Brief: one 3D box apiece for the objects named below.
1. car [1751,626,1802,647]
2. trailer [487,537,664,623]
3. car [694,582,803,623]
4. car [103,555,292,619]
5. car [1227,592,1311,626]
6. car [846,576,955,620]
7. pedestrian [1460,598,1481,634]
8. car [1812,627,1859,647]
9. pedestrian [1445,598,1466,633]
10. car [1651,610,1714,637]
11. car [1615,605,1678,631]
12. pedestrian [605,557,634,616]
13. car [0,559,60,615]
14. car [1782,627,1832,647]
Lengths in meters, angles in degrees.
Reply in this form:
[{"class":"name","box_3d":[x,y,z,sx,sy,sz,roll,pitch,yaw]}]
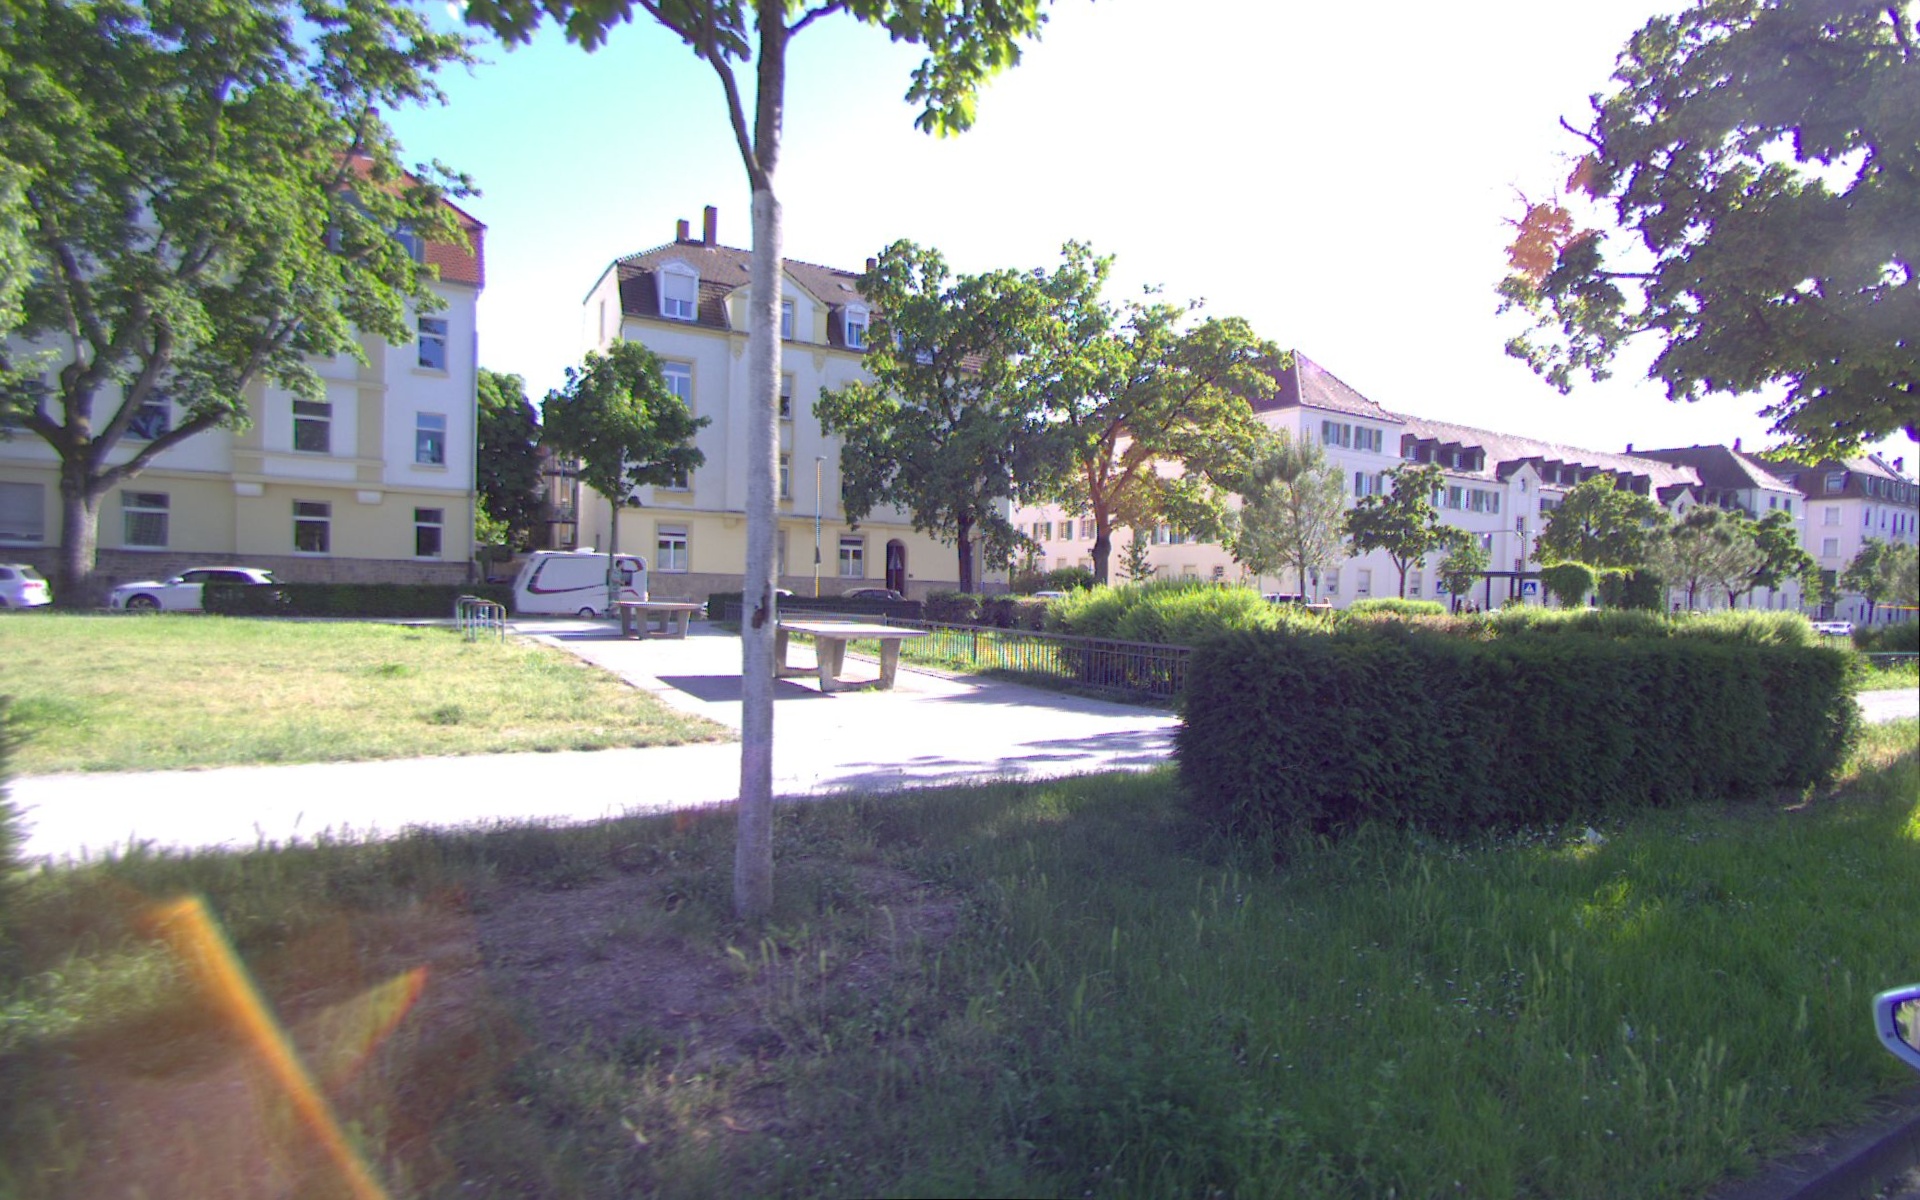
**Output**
[{"class":"car","box_3d":[63.154,2.815,77.692,3.953,1.530,1.786,2,1,-30]},{"class":"trailer","box_3d":[-14.153,-0.683,37.090,5.736,2.909,2.331,1,1,-31]},{"class":"car","box_3d":[-8.550,0.102,40.692,3.953,1.530,1.786,2,1,-30]},{"class":"car","box_3d":[-23.446,-0.392,31.125,4.436,1.801,1.785,1,1,-30]},{"class":"car","box_3d":[16.766,0.477,54.602,3.925,1.674,1.798,2,1,-6]},{"class":"car","box_3d":[-2.578,-0.092,43.858,4.445,1.755,1.785,2,1,-30]},{"class":"pedestrian","box_3d":[24.683,0.759,48.585,0.642,1.721,0.645,1,0,-30]},{"class":"car","box_3d":[72.572,3.104,83.254,3.953,1.530,1.786,2,1,-30]},{"class":"pedestrian","box_3d":[24.317,0.760,49.265,0.642,1.721,0.645,1,0,-30]},{"class":"car","box_3d":[50.517,1.661,70.235,4.647,1.733,1.785,2,1,-30]},{"class":"car","box_3d":[44.033,1.153,64.446,3.953,1.530,1.786,2,1,-30]},{"class":"pedestrian","box_3d":[-9.908,-0.383,29.206,0.642,1.683,0.645,1,0,-30]},{"class":"car","box_3d":[-28.399,-0.419,28.252,4.296,1.530,1.785,1,1,-30]},{"class":"car","box_3d":[67.702,2.954,80.303,3.953,1.530,1.786,2,1,-30]}]
